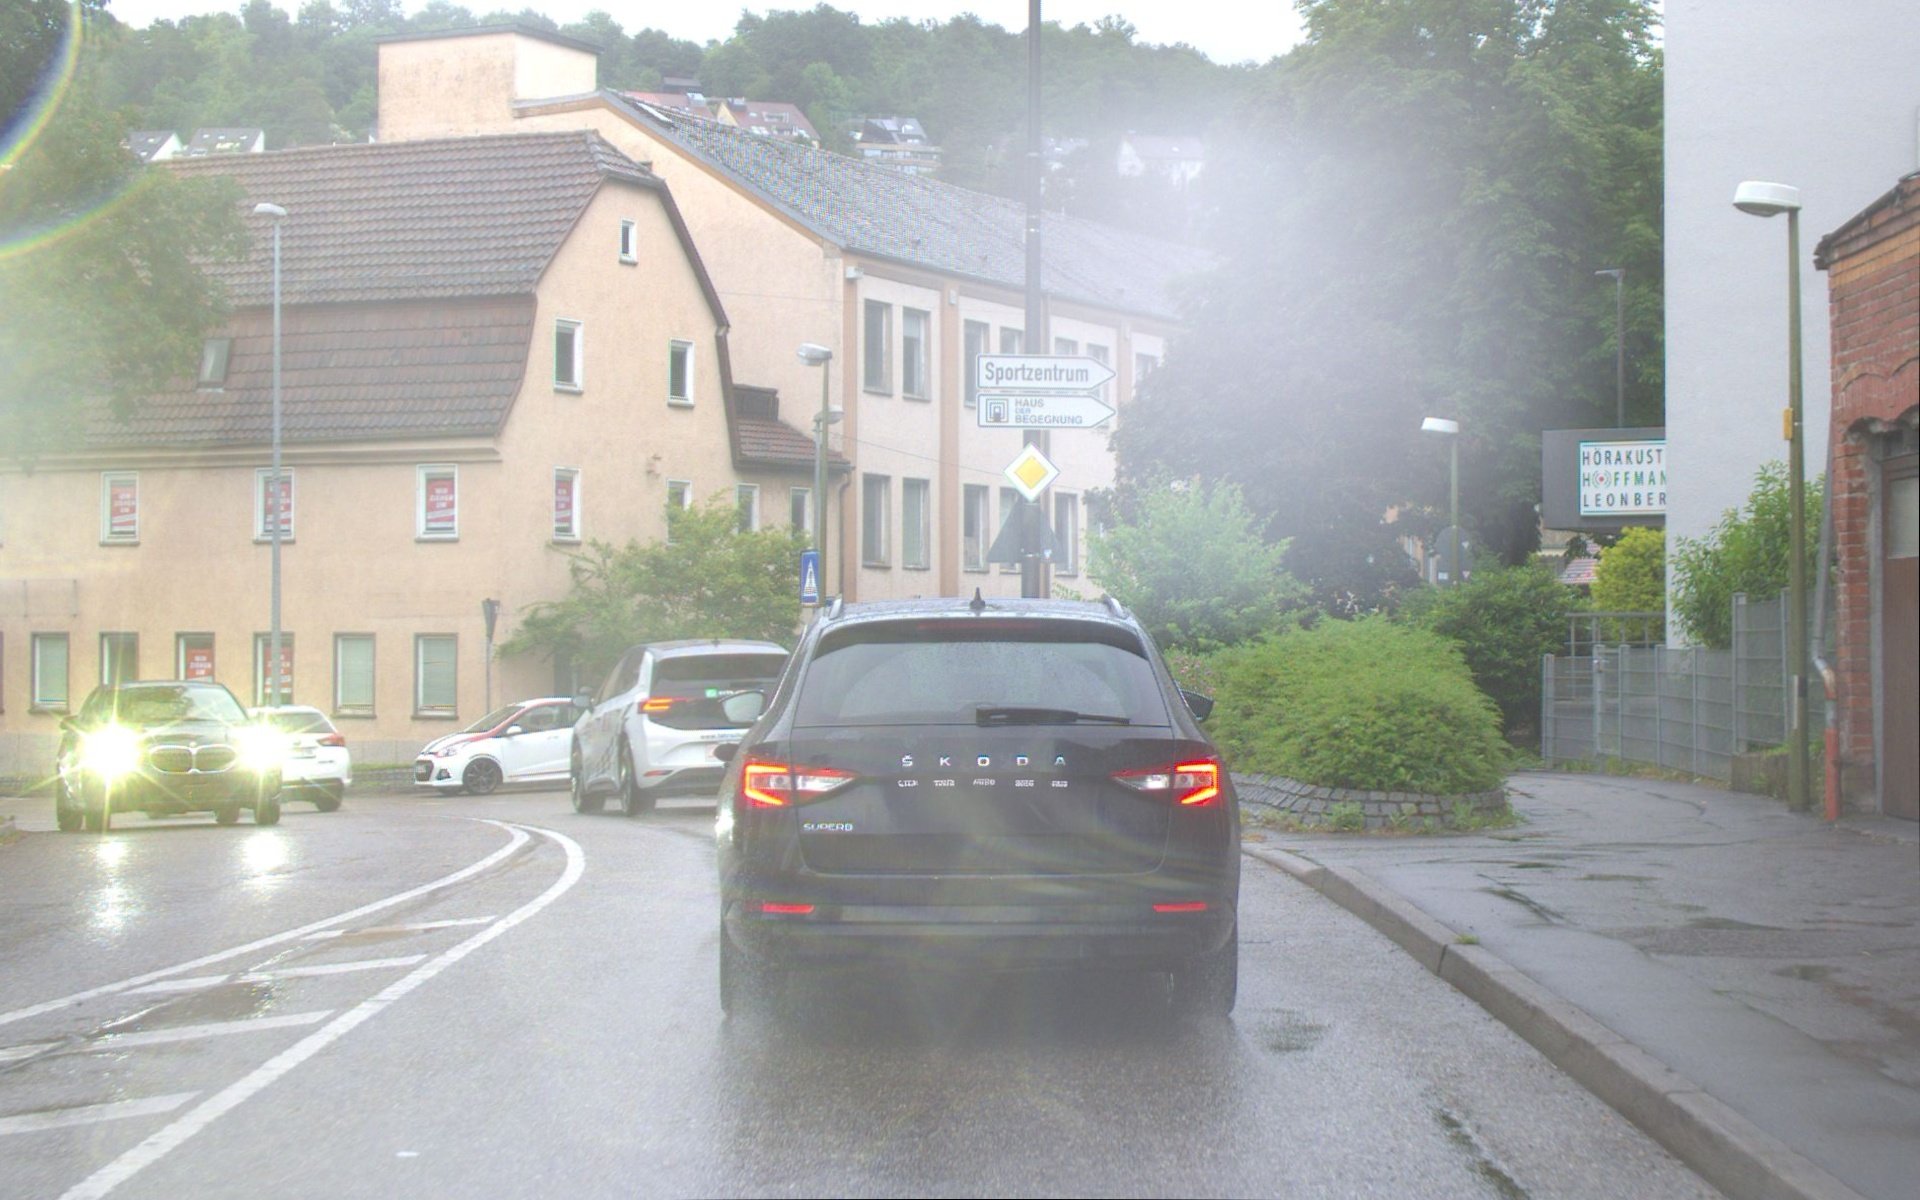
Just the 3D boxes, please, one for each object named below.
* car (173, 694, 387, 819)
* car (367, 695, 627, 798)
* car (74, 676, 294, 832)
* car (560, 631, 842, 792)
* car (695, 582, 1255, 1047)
[{"bbox_3d":[-9.291,2.111,46.725,1.727,1.585,4.184,3,-3,-27],"label":"car"},{"bbox_3d":[-7.451,2.342,55.325,3.750,1.448,1.712,-2,-1,-26],"label":"car"},{"bbox_3d":[-7.583,1.452,33.356,1.735,1.406,4.055,0,-1,-18],"label":"car"},{"bbox_3d":[-2.419,0.980,31.179,1.817,1.355,3.990,0,-1,-15],"label":"car"},{"bbox_3d":[-0.110,0.705,13.166,1.781,1.478,4.246,0,-1,-5],"label":"car"}]
